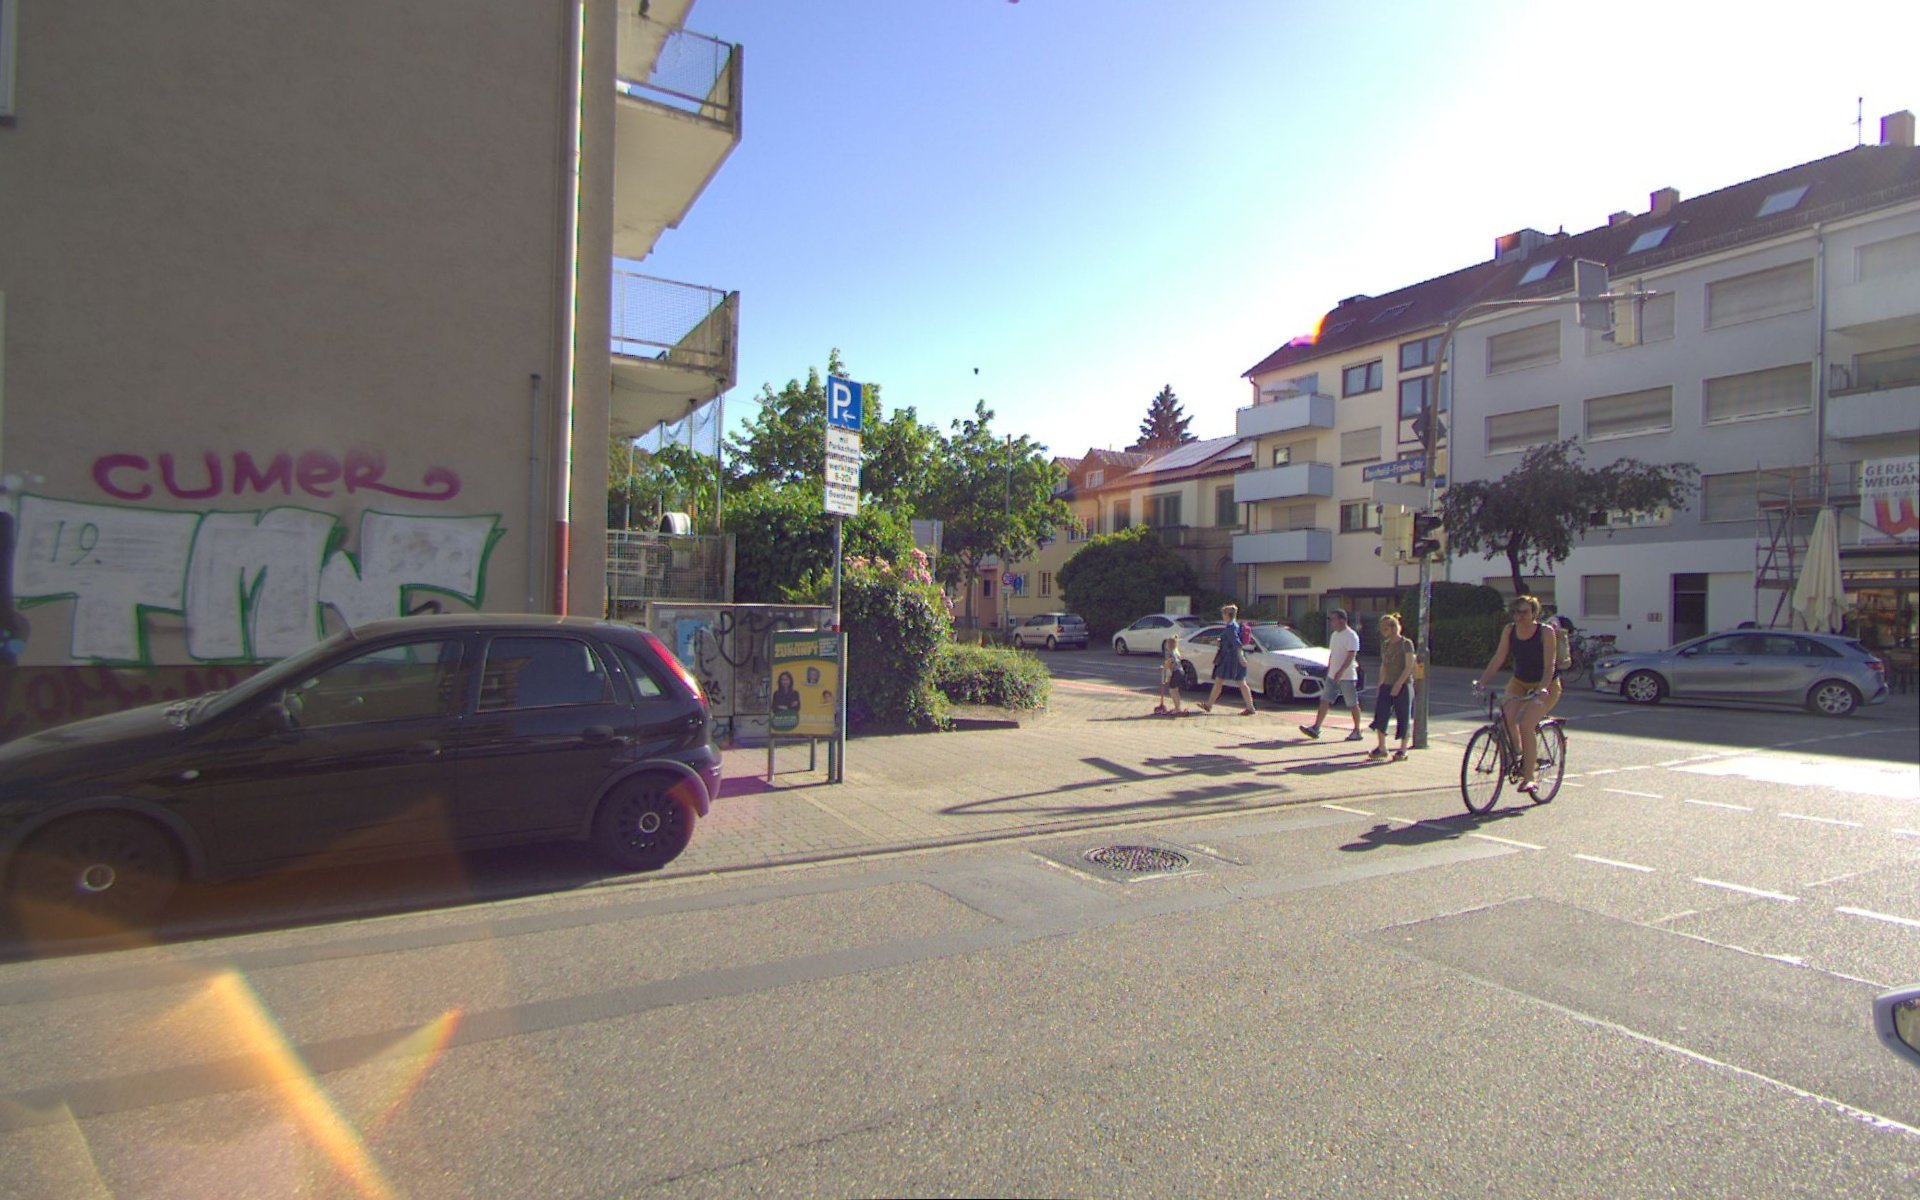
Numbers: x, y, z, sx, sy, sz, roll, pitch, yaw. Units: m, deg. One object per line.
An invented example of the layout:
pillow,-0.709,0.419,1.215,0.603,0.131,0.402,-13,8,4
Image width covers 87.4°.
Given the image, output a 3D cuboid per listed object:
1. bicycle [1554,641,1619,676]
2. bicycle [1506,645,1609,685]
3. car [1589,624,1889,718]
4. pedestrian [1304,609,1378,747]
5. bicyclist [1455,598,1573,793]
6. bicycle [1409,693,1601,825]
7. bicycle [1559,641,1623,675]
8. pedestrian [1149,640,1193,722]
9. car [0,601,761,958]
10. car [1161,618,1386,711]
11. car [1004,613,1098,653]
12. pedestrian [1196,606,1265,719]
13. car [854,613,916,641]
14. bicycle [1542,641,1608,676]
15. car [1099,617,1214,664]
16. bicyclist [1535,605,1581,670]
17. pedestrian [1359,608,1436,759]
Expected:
bicycle,18.262,1.683,29.298,0.506,0.952,1.583,1,-1,-27
bicycle,14.764,1.594,24.878,0.550,0.845,2.107,1,0,-39
car,13.876,1.208,18.259,4.103,1.453,1.839,0,-1,32
pedestrian,4.881,0.981,12.895,0.659,1.711,0.572,1,0,-20
bicyclist,4.610,0.763,8.366,0.765,1.541,0.540,1,0,-30
bicycle,4.545,1.271,8.334,1.804,0.914,0.540,1,0,-30
bicycle,18.734,1.714,29.849,0.506,0.952,1.583,1,-1,-27
pedestrian,3.133,1.191,14.904,0.522,1.161,0.386,1,0,31
car,-3.274,0.803,5.808,3.813,1.468,1.682,1,2,-32
car,6.150,1.189,20.205,1.909,1.455,4.238,-3,2,-27
car,3.661,1.301,41.033,1.893,1.449,3.968,-2,1,-30
pedestrian,4.235,0.950,15.708,0.950,1.705,0.574,1,0,23
car,-4.187,1.464,55.539,1.893,1.449,3.968,-2,1,-30
bicycle,17.616,1.664,28.804,0.506,0.952,1.583,1,-1,-27
car,6.890,1.381,35.584,1.893,1.539,3.968,0,0,-30
bicyclist,14.797,0.914,24.856,0.550,1.569,0.805,1,0,-40
pedestrian,4.794,0.893,11.019,0.556,1.602,0.529,1,0,-29
